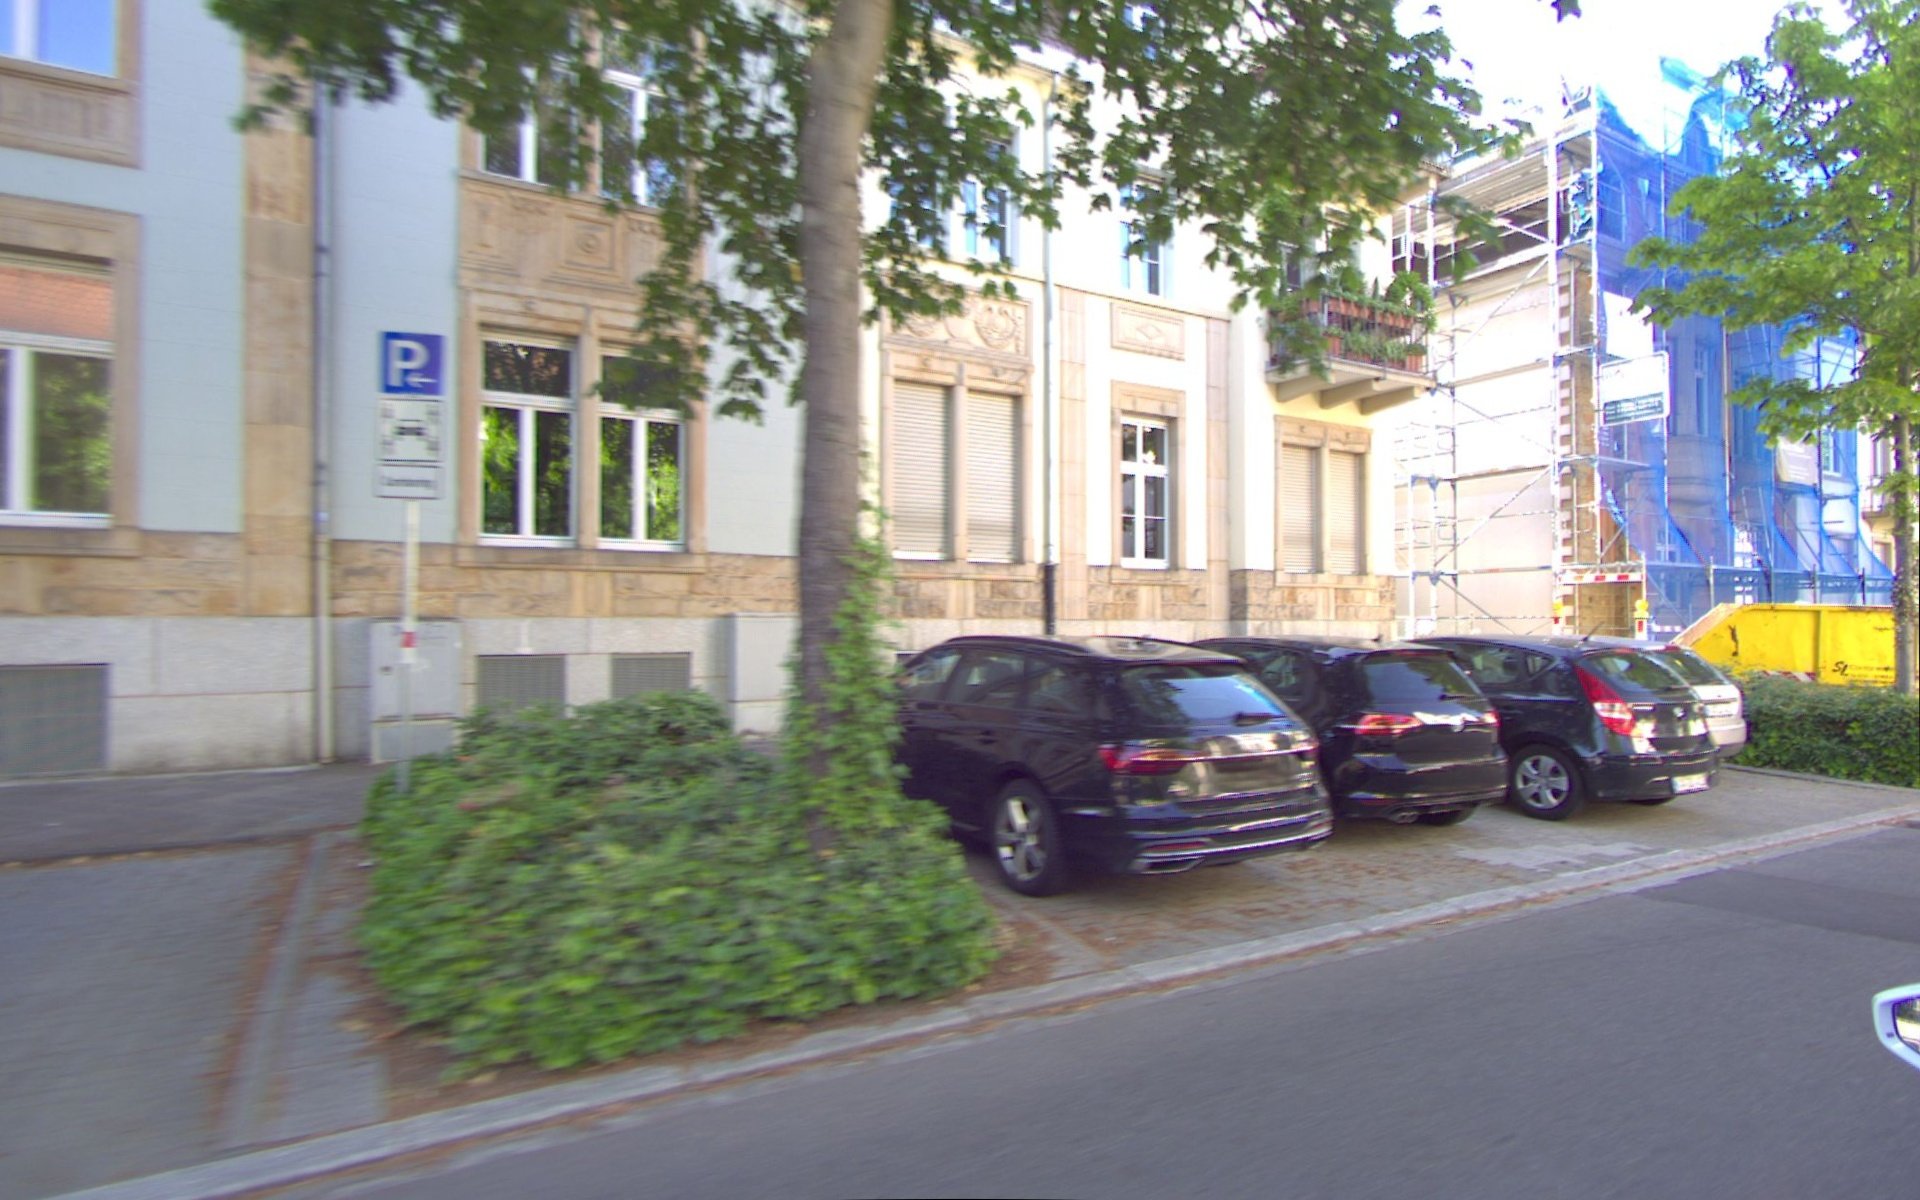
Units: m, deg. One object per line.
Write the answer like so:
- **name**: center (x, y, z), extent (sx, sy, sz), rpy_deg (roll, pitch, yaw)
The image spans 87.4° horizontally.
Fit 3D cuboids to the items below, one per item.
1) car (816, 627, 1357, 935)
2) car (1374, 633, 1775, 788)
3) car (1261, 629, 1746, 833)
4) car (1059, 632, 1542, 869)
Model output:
- **car**: center (0.525, 0.938, 7.086), extent (1.689, 1.419, 4.121), rpy_deg (1, -1, -29)
- **car**: center (6.770, 1.129, 11.447), extent (1.674, 1.467, 3.536), rpy_deg (1, -3, -28)
- **car**: center (4.831, 1.023, 9.474), extent (1.693, 1.484, 3.711), rpy_deg (0, -1, -28)
- **car**: center (2.561, 1.020, 8.418), extent (1.626, 1.450, 3.731), rpy_deg (1, -1, -29)
